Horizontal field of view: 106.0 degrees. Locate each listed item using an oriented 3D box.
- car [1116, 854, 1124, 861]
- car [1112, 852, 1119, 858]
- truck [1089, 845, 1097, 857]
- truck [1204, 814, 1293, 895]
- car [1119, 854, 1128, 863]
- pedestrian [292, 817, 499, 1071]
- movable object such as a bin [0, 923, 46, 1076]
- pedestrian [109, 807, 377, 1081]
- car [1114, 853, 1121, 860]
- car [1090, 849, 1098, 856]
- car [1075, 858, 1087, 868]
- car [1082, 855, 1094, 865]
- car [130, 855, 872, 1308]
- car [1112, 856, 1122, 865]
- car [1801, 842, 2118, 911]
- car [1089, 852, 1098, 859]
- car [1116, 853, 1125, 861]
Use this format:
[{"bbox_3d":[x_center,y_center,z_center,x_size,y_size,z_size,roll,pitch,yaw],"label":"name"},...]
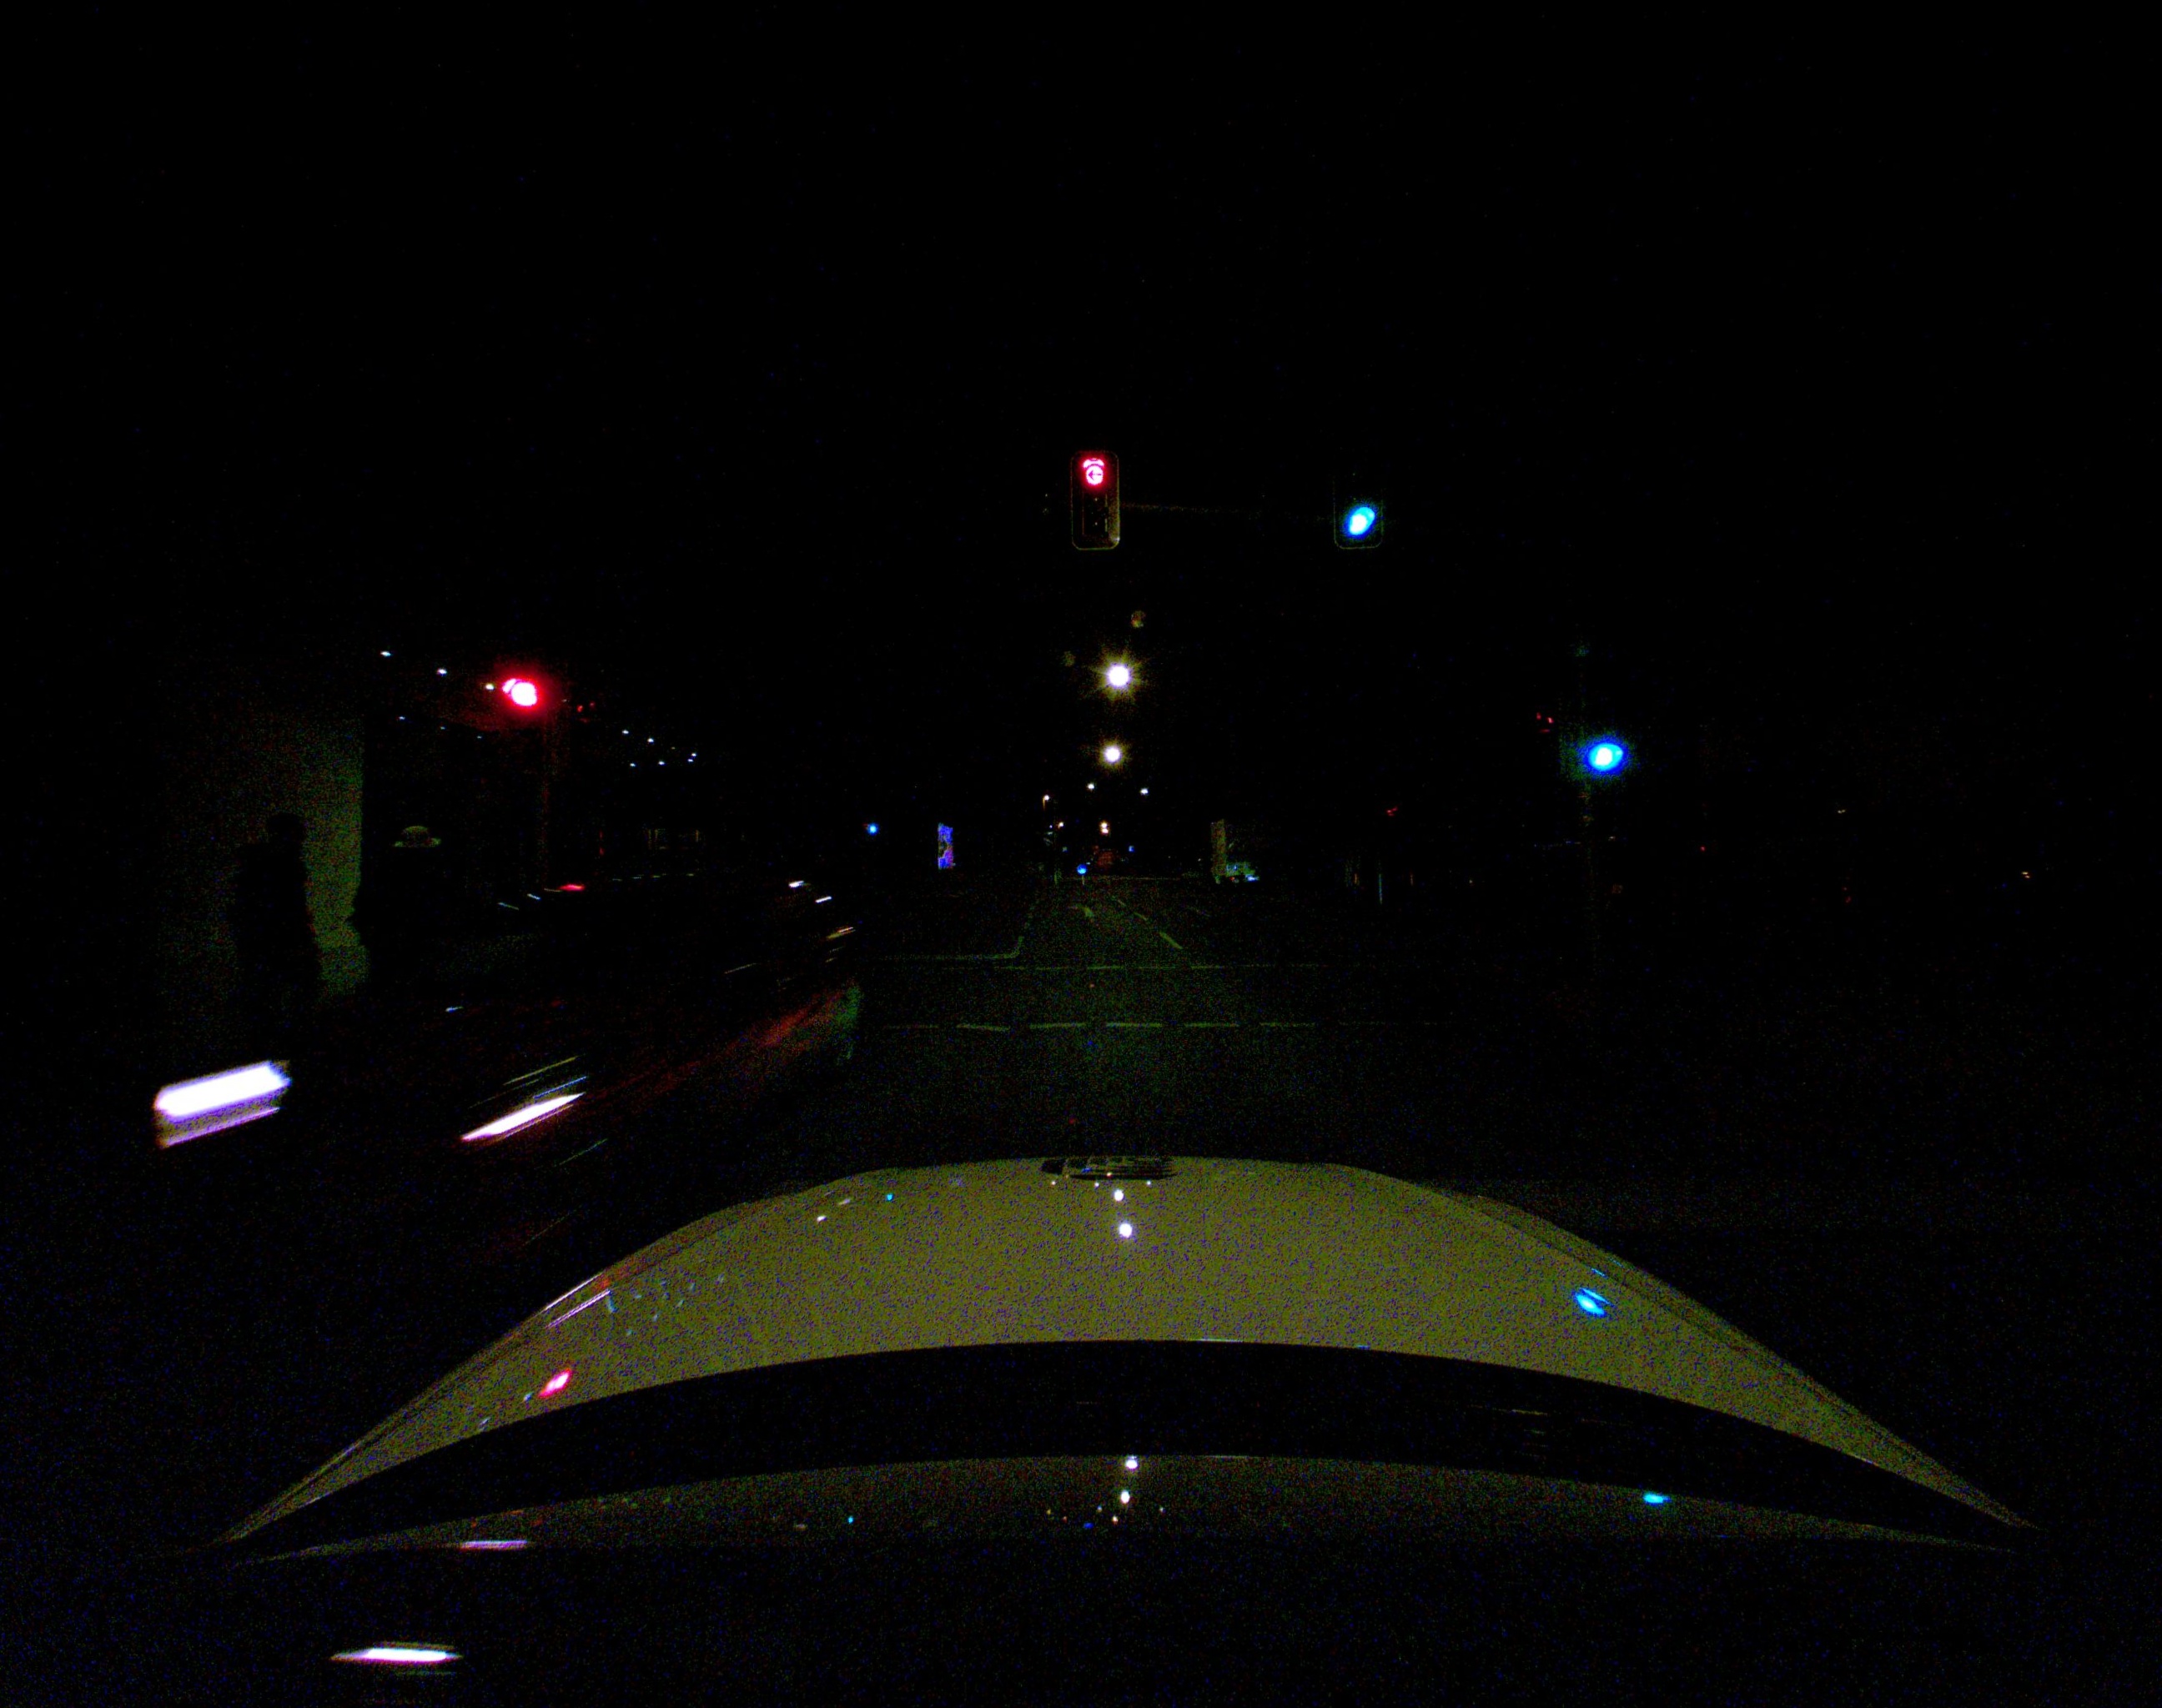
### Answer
[{"bbox_3d":[7.601,0.699,159.331,1.628,1.452,3.486,0,0,2],"label":"car"},{"bbox_3d":[8.178,0.290,191.556,1.628,1.452,3.486,0,0,2],"label":"car"},{"bbox_3d":[3.132,-0.729,209.810,2.079,2.848,5.831,0,0,0],"label":"truck"},{"bbox_3d":[6.962,0.028,34.620,2.738,3.110,6.262,0,0,2],"label":"truck"},{"bbox_3d":[7.480,0.814,143.401,1.628,1.452,3.486,0,0,2],"label":"car"},{"bbox_3d":[-5.120,0.628,6.160,0.673,1.745,1.029,-1,-1,0],"label":"pedestrian"},{"bbox_3d":[-7.926,1.034,5.704,0.633,1.049,0.657,-1,-1,19],"label":"movable object such as a bin"},{"bbox_3d":[-5.858,0.581,5.782,0.739,1.745,1.103,-1,-1,0],"label":"pedestrian"},{"bbox_3d":[7.971,0.514,178.579,1.628,1.452,3.486,0,0,2],"label":"car"},{"bbox_3d":[2.991,-0.340,187.157,1.809,1.491,4.000,0,0,0],"label":"car"},{"bbox_3d":[0.061,1.331,118.416,1.628,1.452,3.486,0,0,2],"label":"car"},{"bbox_3d":[1.191,0.999,134.629,1.808,1.684,4.002,0,0,2],"label":"car"},{"bbox_3d":[-2.398,0.771,4.450,1.576,1.501,3.396,-1,0,1],"label":"car"},{"bbox_3d":[6.024,1.044,137.791,1.587,1.476,3.655,0,0,2],"label":"car"},{"bbox_3d":[17.322,0.450,16.274,4.107,1.280,1.770,-1,-1,9],"label":"car"},{"bbox_3d":[2.427,0.303,160.755,1.809,1.491,4.000,0,0,0],"label":"car"},{"bbox_3d":[7.465,0.637,153.145,1.628,1.452,3.486,0,0,2],"label":"car"}]
